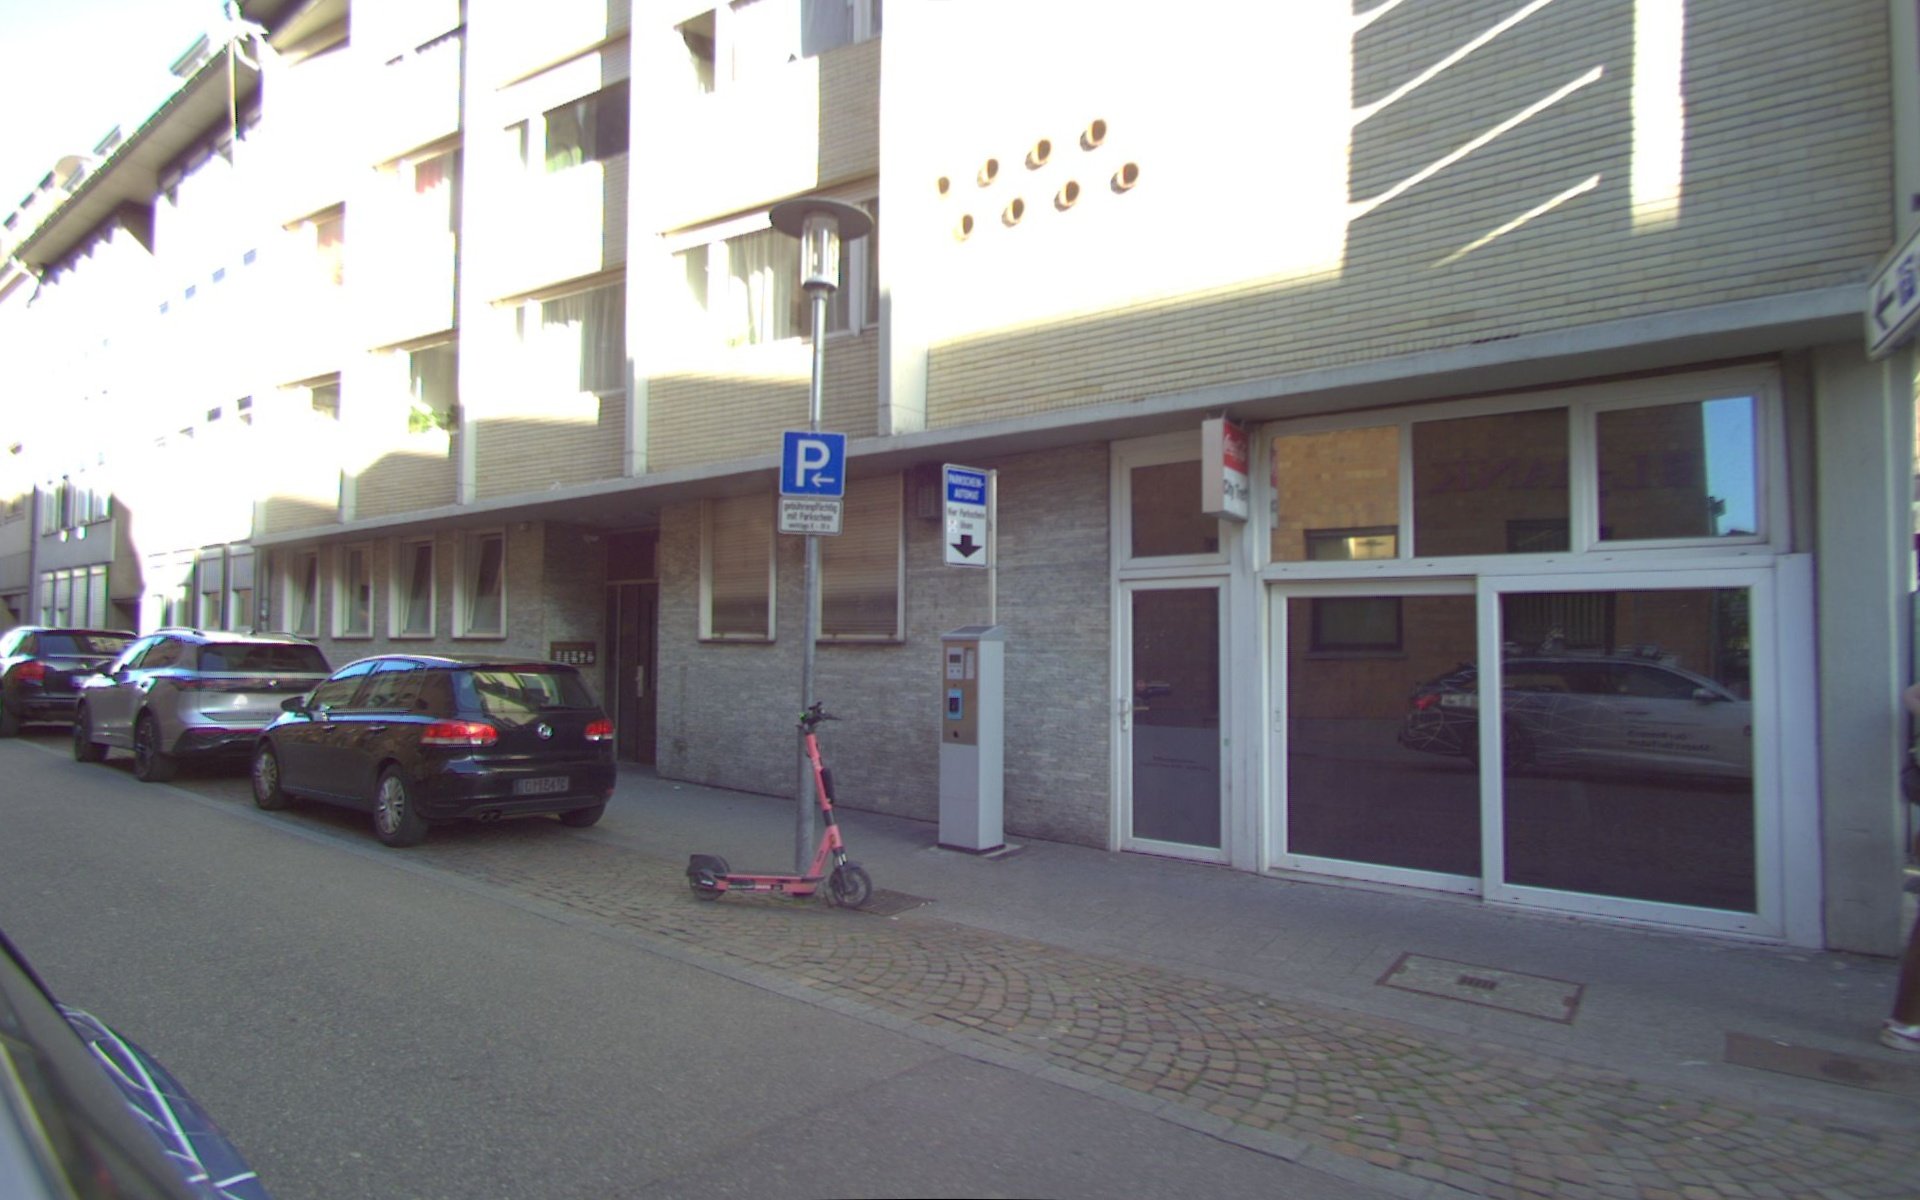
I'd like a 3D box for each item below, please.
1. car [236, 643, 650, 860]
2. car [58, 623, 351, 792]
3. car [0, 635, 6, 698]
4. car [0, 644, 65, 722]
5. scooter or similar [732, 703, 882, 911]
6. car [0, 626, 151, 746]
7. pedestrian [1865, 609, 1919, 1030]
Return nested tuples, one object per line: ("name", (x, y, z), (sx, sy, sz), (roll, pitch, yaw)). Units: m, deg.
("car", (-4.623, 1.184, 8.880), (3.805, 1.497, 1.719), (-3, -6, 37))
("car", (-9.017, 1.185, 11.975), (4.074, 1.674, 1.652), (-2, -5, 37))
("car", (-23.939, 1.656, 23.664), (4.006, 1.717, 1.652), (-2, -5, 37))
("car", (-19.617, 1.630, 20.349), (3.857, 1.472, 1.652), (-2, -5, 37))
("scooter or similar", (-0.908, 1.224, 6.061), (0.869, 1.193, 0.208), (0, -3, -2))
("car", (-14.782, 1.349, 16.372), (4.006, 1.717, 1.652), (-2, -5, 37))
("pedestrian", (3.930, 0.831, 3.870), (0.525, 1.591, 0.512), (-1, -1, -30))
